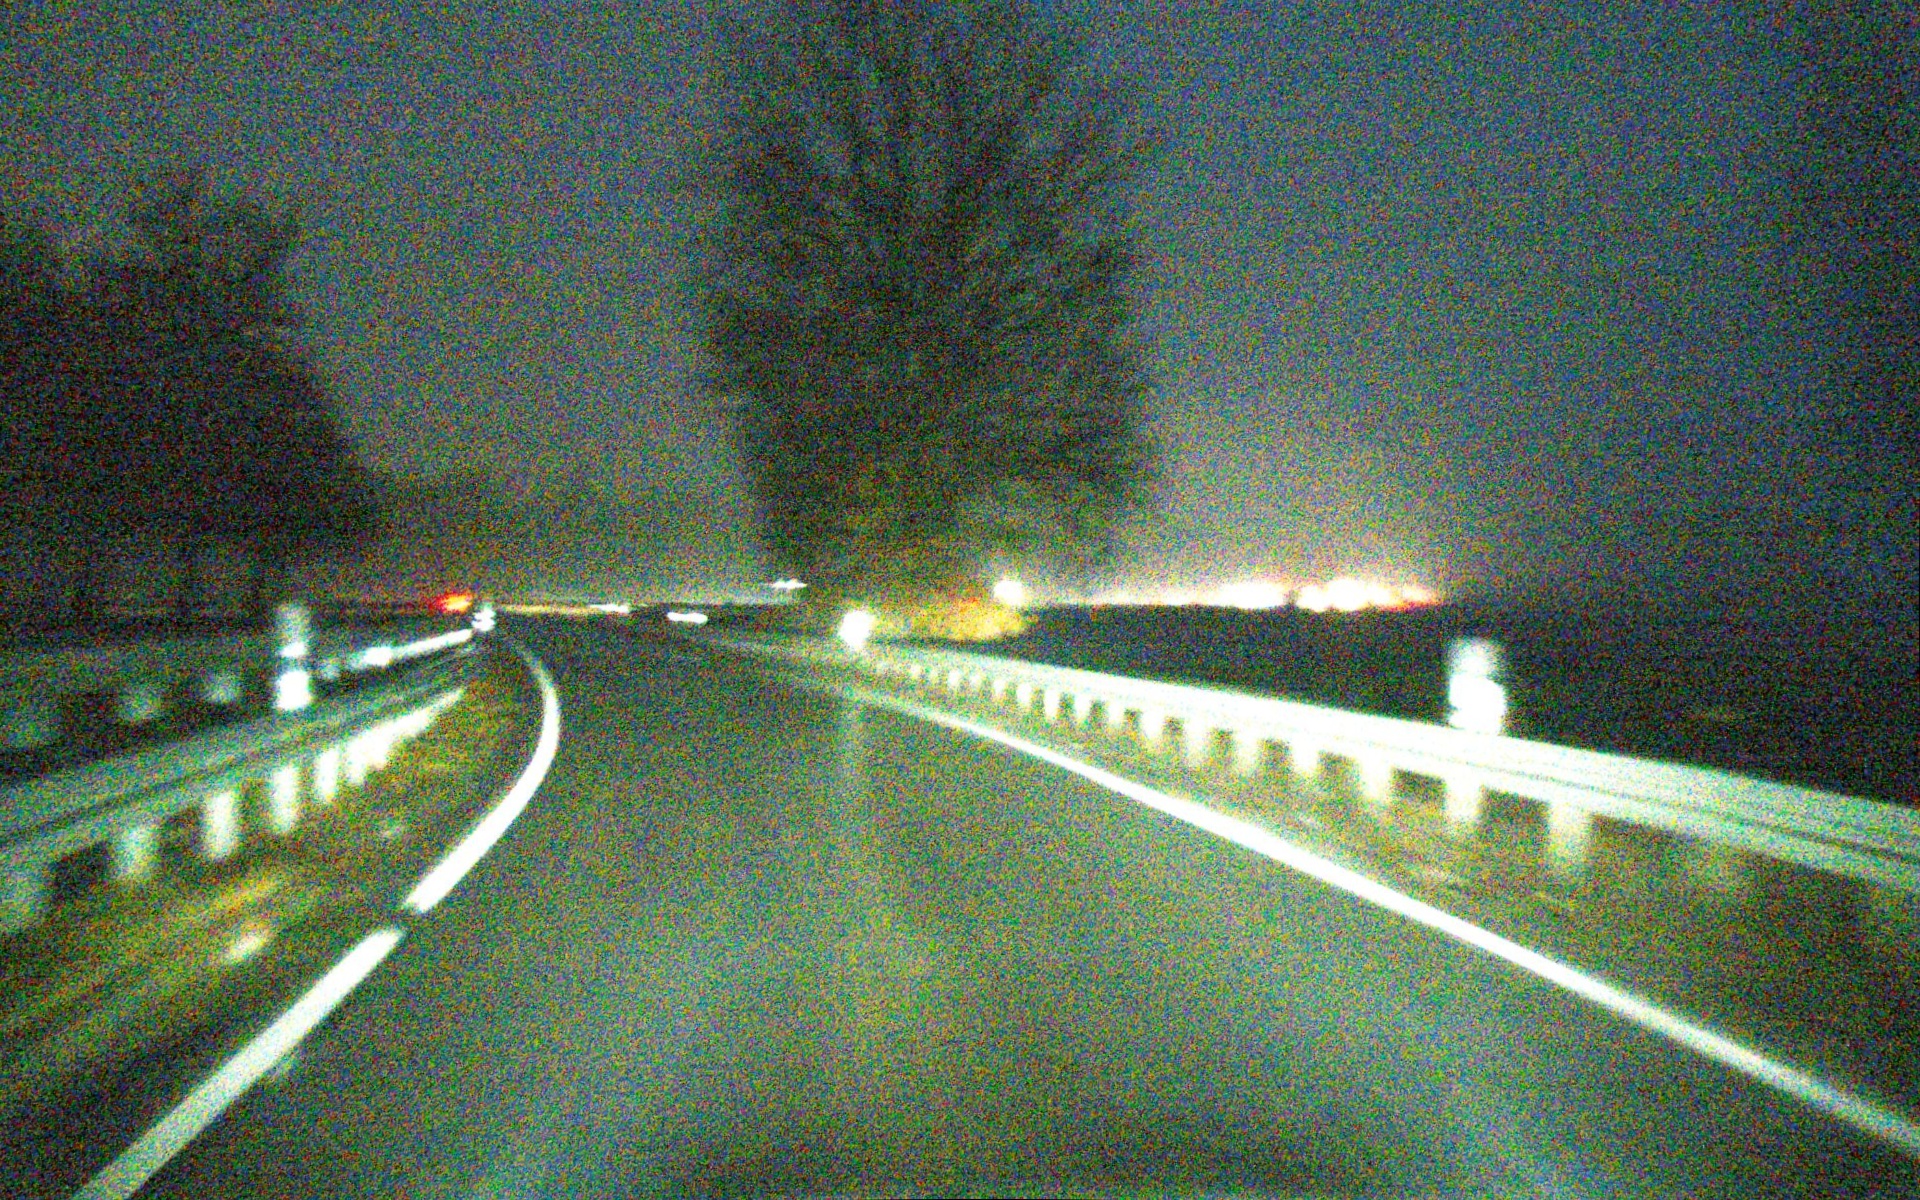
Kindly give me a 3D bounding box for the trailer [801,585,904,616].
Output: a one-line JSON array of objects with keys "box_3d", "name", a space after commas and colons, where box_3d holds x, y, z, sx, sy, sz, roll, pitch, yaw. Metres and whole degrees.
[{"box_3d": [-10.504, 0.097, 164.014, 2.642, 2.746, 12.809, 2, 0, 35], "name": "trailer"}]
